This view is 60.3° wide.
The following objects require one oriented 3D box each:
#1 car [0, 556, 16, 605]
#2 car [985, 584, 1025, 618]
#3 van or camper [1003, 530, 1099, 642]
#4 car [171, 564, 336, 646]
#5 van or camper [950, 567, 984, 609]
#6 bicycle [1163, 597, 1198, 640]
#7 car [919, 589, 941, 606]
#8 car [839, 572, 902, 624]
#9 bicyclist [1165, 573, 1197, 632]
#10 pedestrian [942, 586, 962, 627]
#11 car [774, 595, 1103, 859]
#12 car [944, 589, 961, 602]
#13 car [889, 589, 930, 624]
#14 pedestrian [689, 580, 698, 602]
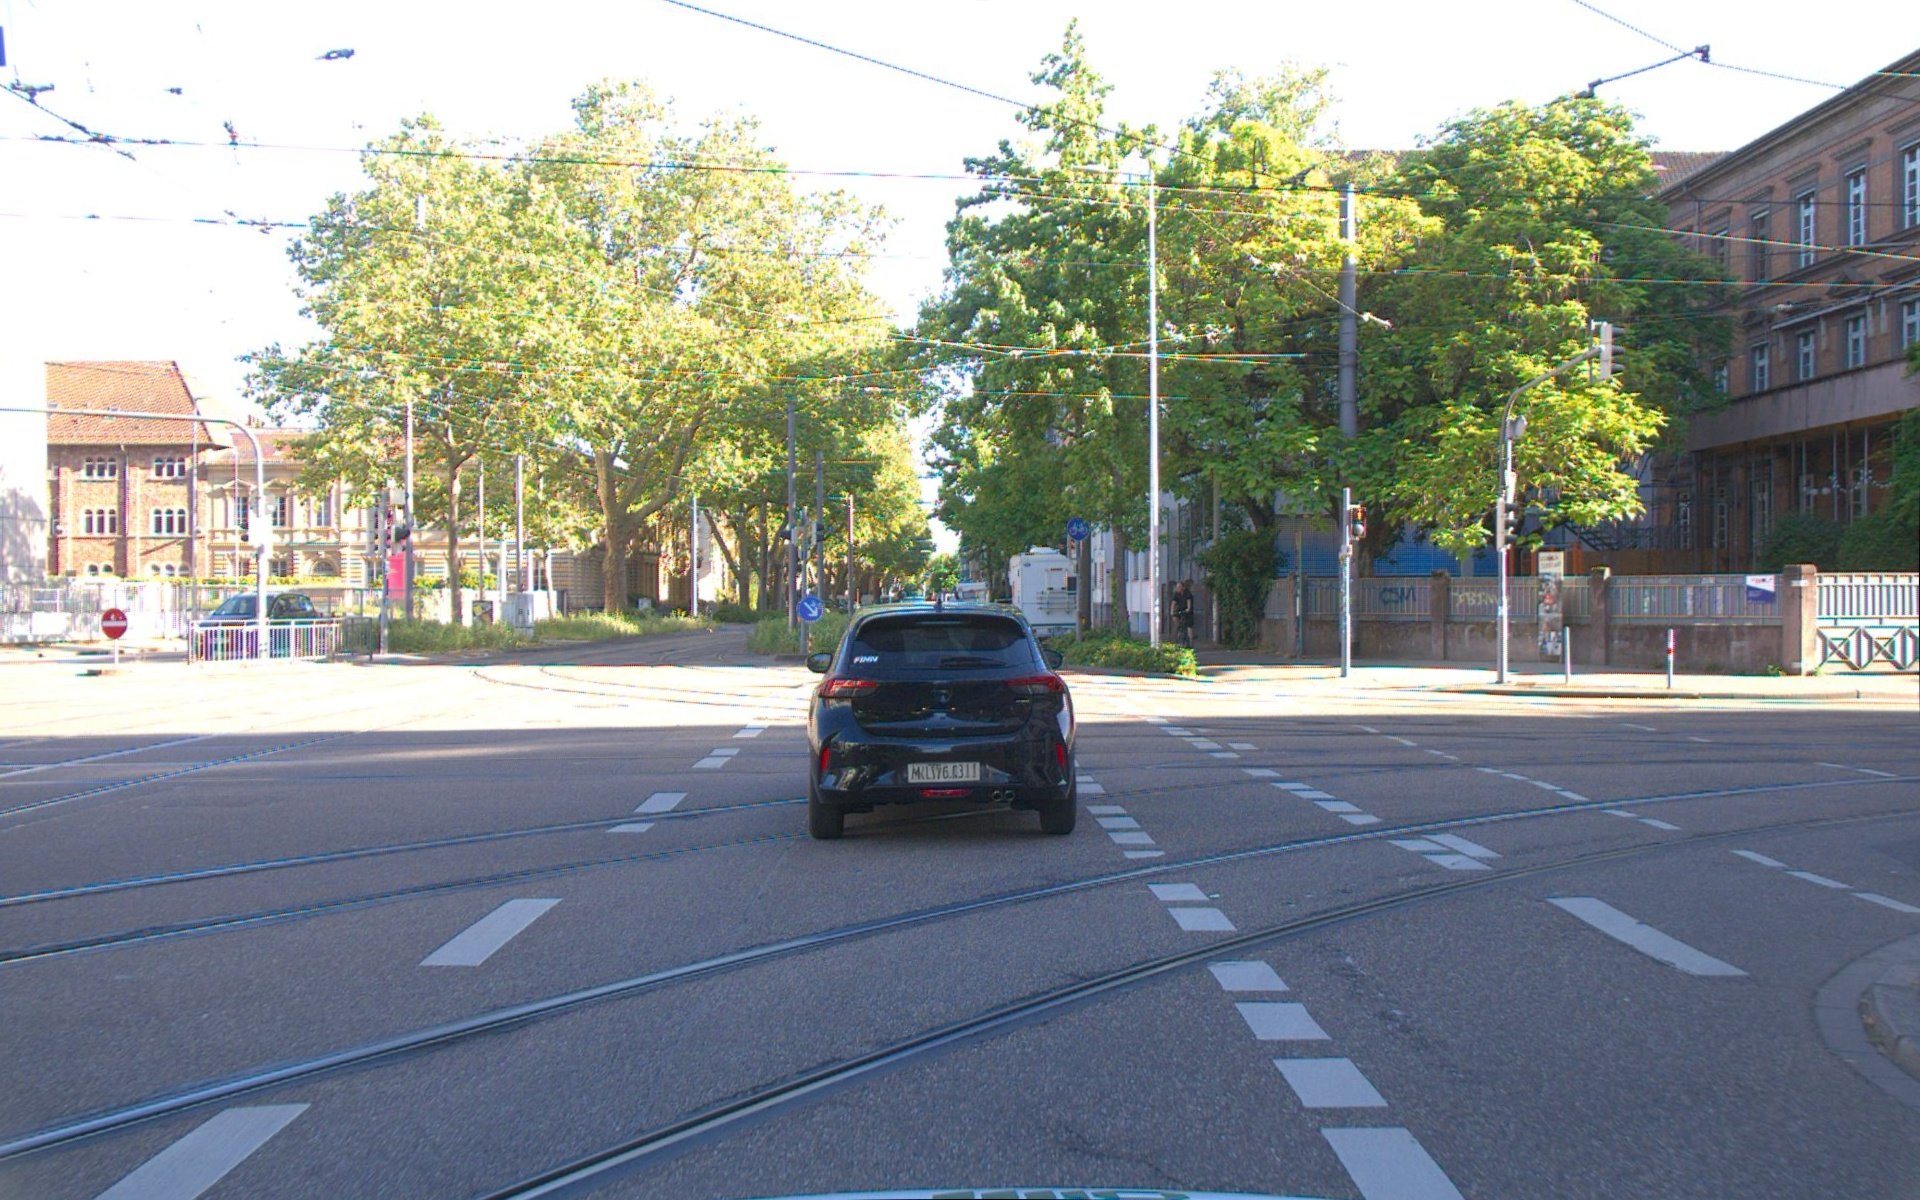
[{"bbox_3d":[-35.016,-0.648,57.227,1.951,1.733,4.380,-1,1,4],"label":"car"},{"bbox_3d":[2.126,0.031,79.600,1.754,1.536,3.874,-2,1,0],"label":"car"},{"bbox_3d":[2.789,-0.457,52.721,2.328,3.179,7.549,-3,1,-1],"label":"van or camper"},{"bbox_3d":[-17.954,0.094,42.291,1.951,1.981,4.427,0,1,6],"label":"car"},{"bbox_3d":[0.537,-0.942,126.006,2.435,3.046,5.434,2,0,0],"label":"van or camper"},{"bbox_3d":[5.785,0.470,43.363,0.626,1.089,1.952,0,1,16],"label":"bicycle"},{"bbox_3d":[-2.690,-0.213,148.794,1.866,1.450,4.216,0,1,0],"label":"car"},{"bbox_3d":[-3.014,-0.084,56.664,1.953,1.656,4.469,2,1,-1],"label":"car"},{"bbox_3d":[5.795,0.065,43.413,0.733,1.536,0.702,0,0,16],"label":"bicyclist"},{"bbox_3d":[-0.407,0.323,83.581,1.015,2.059,1.212,0,0,-2],"label":"pedestrian"},{"bbox_3d":[-0.105,0.711,11.474,1.866,1.450,4.216,0,1,0],"label":"car"},{"bbox_3d":[-0.789,-0.526,183.371,1.866,1.450,4.216,0,1,0],"label":"car"},{"bbox_3d":[-2.333,0.270,77.086,1.754,1.536,3.874,-2,1,0],"label":"car"},{"bbox_3d":[-21.770,-0.738,135.205,0.606,1.763,0.596,2,0,-2],"label":"pedestrian"}]
